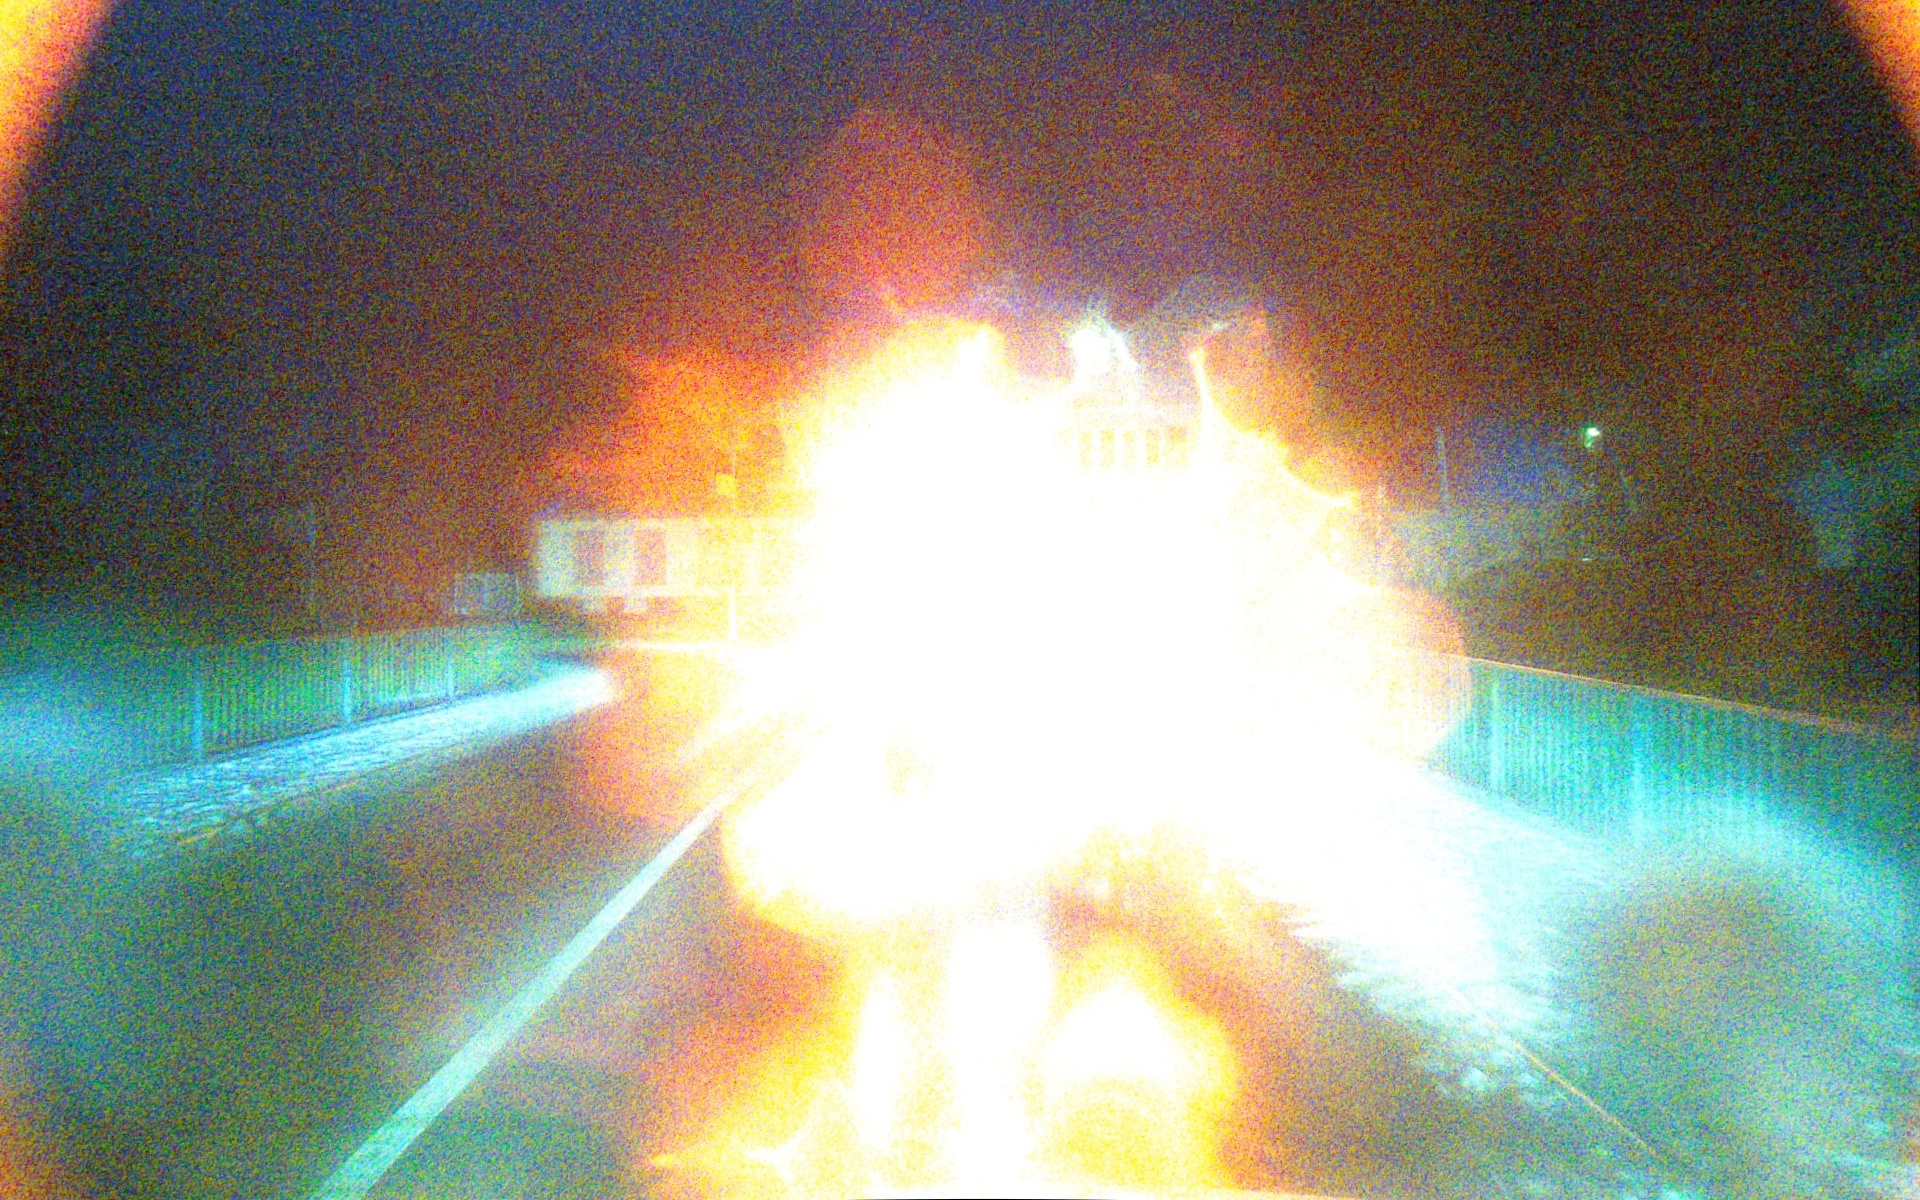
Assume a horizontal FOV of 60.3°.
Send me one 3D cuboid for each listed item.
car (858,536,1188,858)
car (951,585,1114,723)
[{"bbox_3d":[0.385,0.484,10.755,1.754,1.710,3.905,0,1,1],"label":"car"},{"bbox_3d":[0.886,0.552,19.341,1.707,1.440,4.002,0,0,4],"label":"car"}]
